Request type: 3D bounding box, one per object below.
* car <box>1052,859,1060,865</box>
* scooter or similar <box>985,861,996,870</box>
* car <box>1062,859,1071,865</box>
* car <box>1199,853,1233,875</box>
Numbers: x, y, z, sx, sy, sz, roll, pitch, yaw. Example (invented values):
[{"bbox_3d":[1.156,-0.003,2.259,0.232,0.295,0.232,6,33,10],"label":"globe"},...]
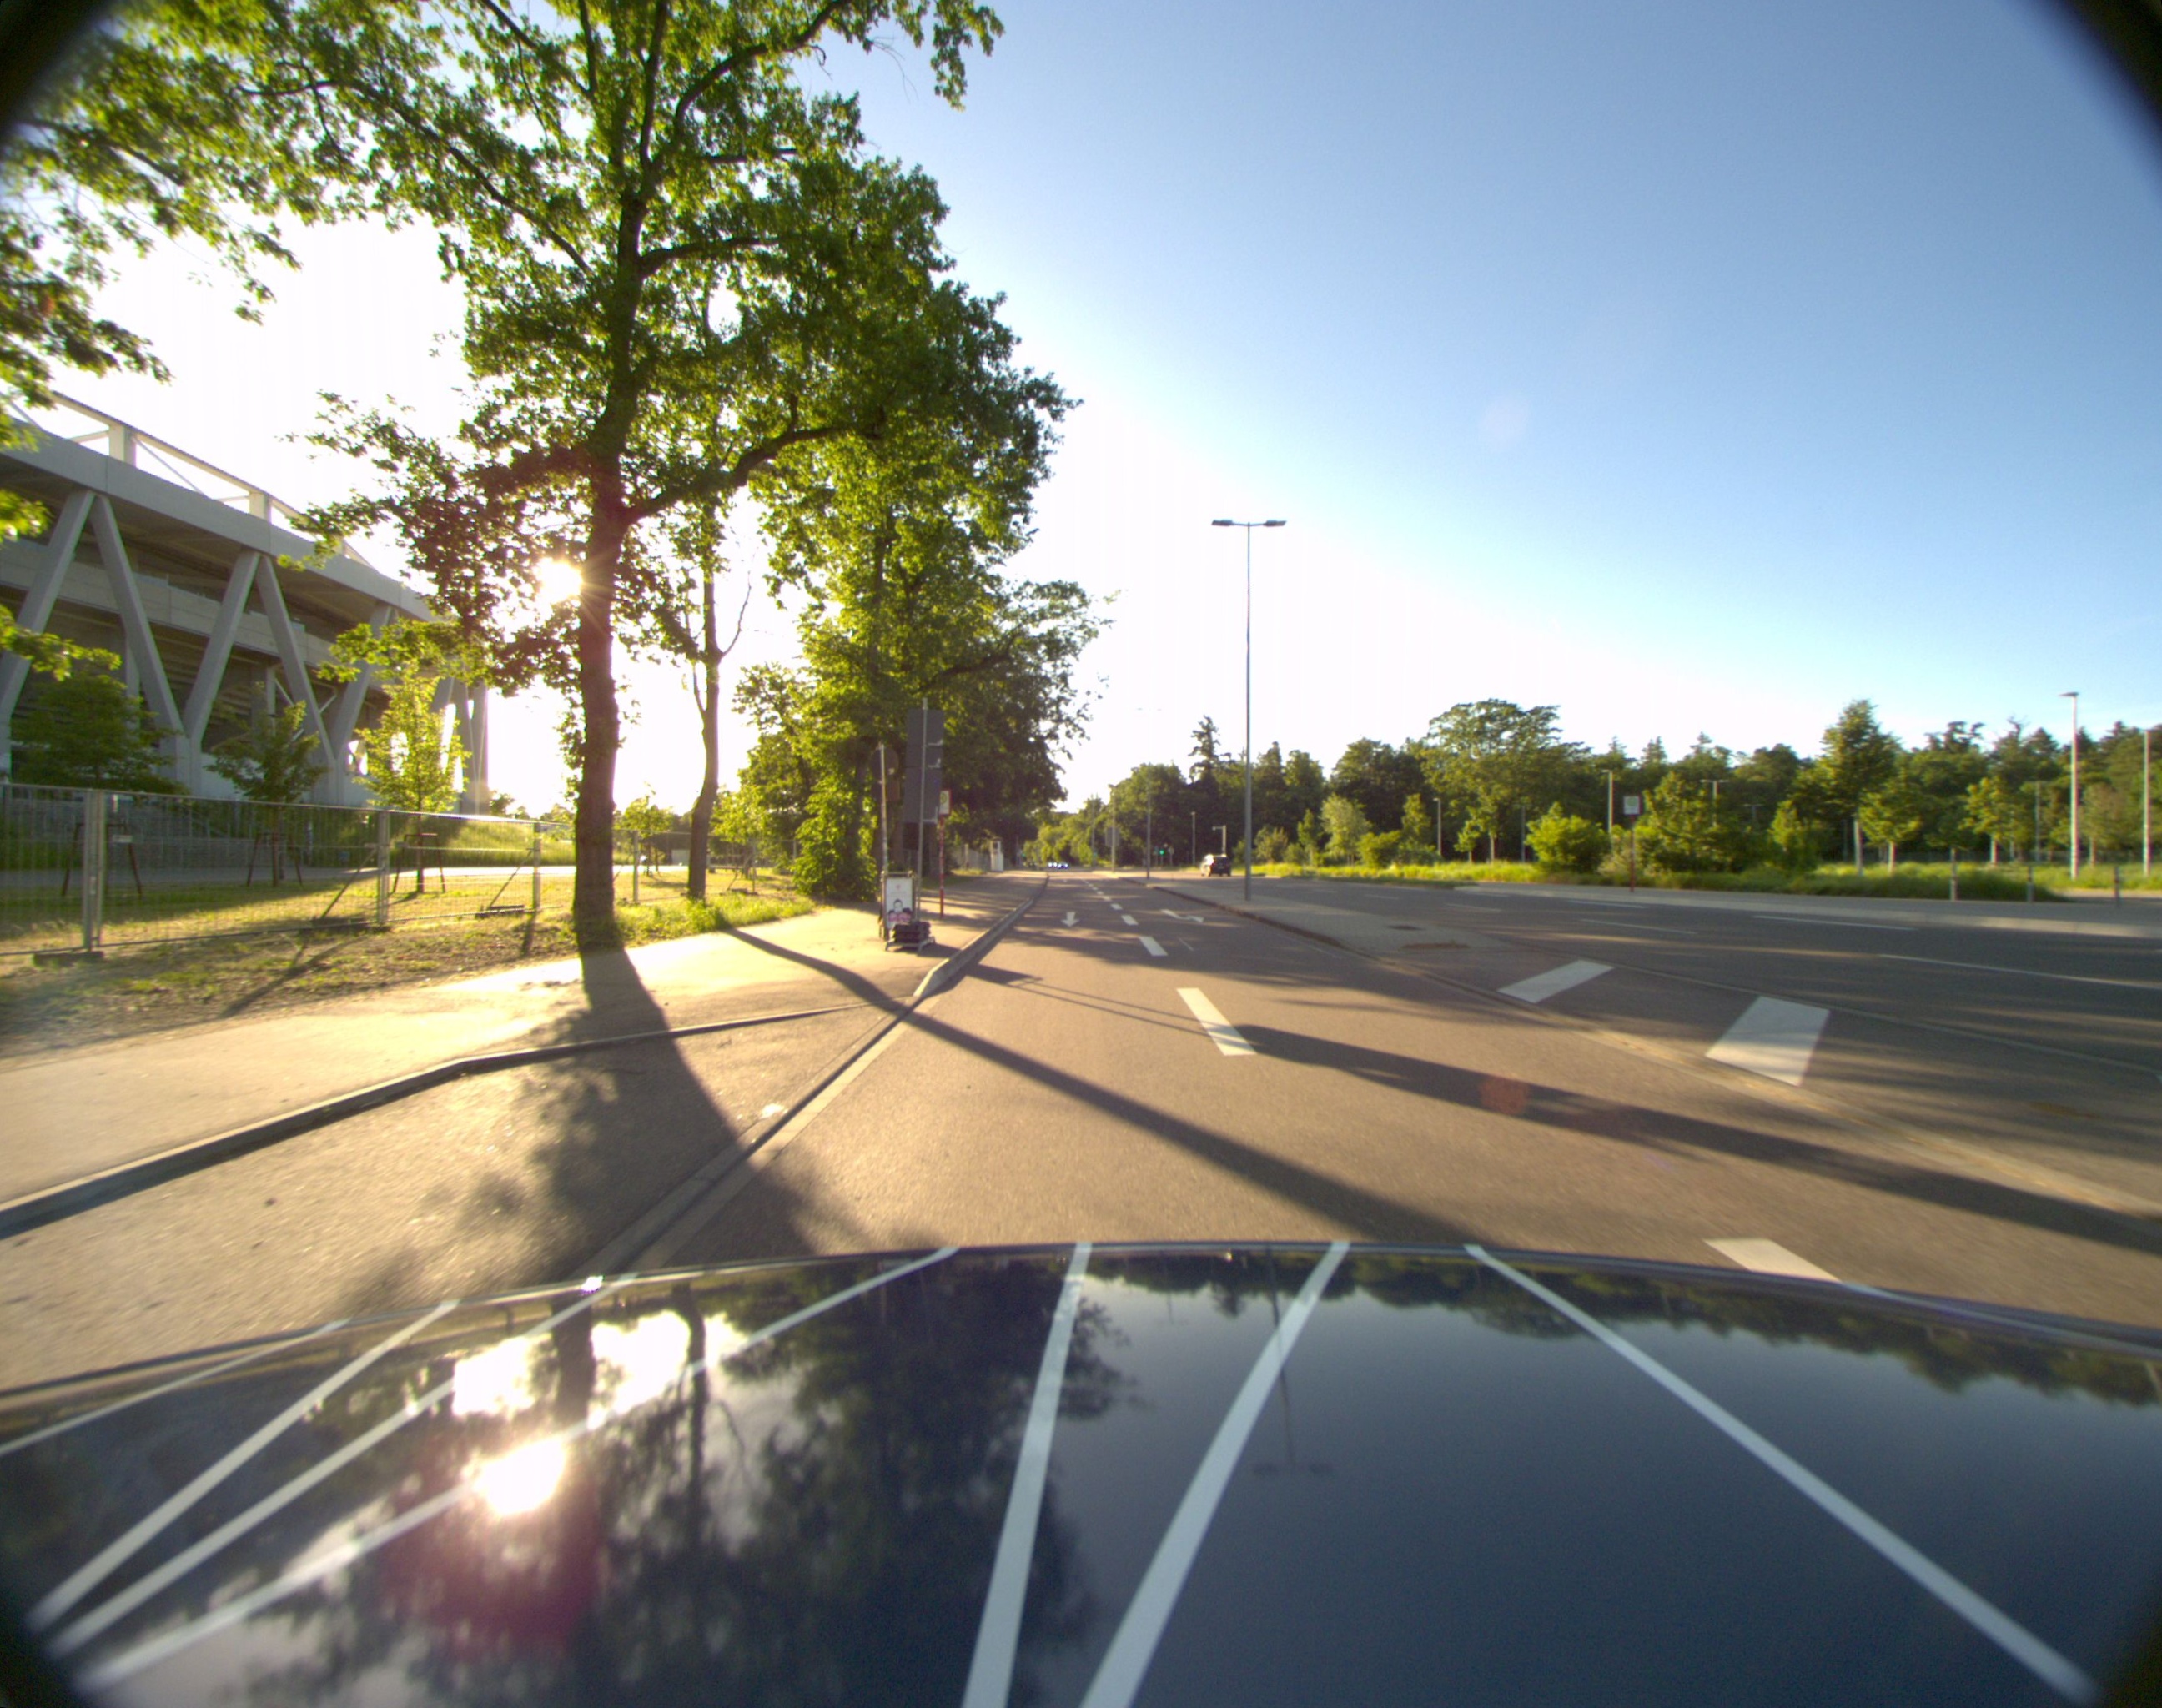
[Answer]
[{"bbox_3d":[-6.548,2.044,200.692,1.841,1.394,4.990,-1,0,-4],"label":"car"},{"bbox_3d":[-11.472,1.445,96.465,1.303,1.230,0.334,0,0,-37],"label":"scooter or similar"},{"bbox_3d":[-3.250,1.804,170.777,1.841,1.394,3.999,-1,0,-4],"label":"car"},{"bbox_3d":[10.945,0.812,61.917,1.788,1.682,4.702,-2,-1,-1],"label":"car"}]
